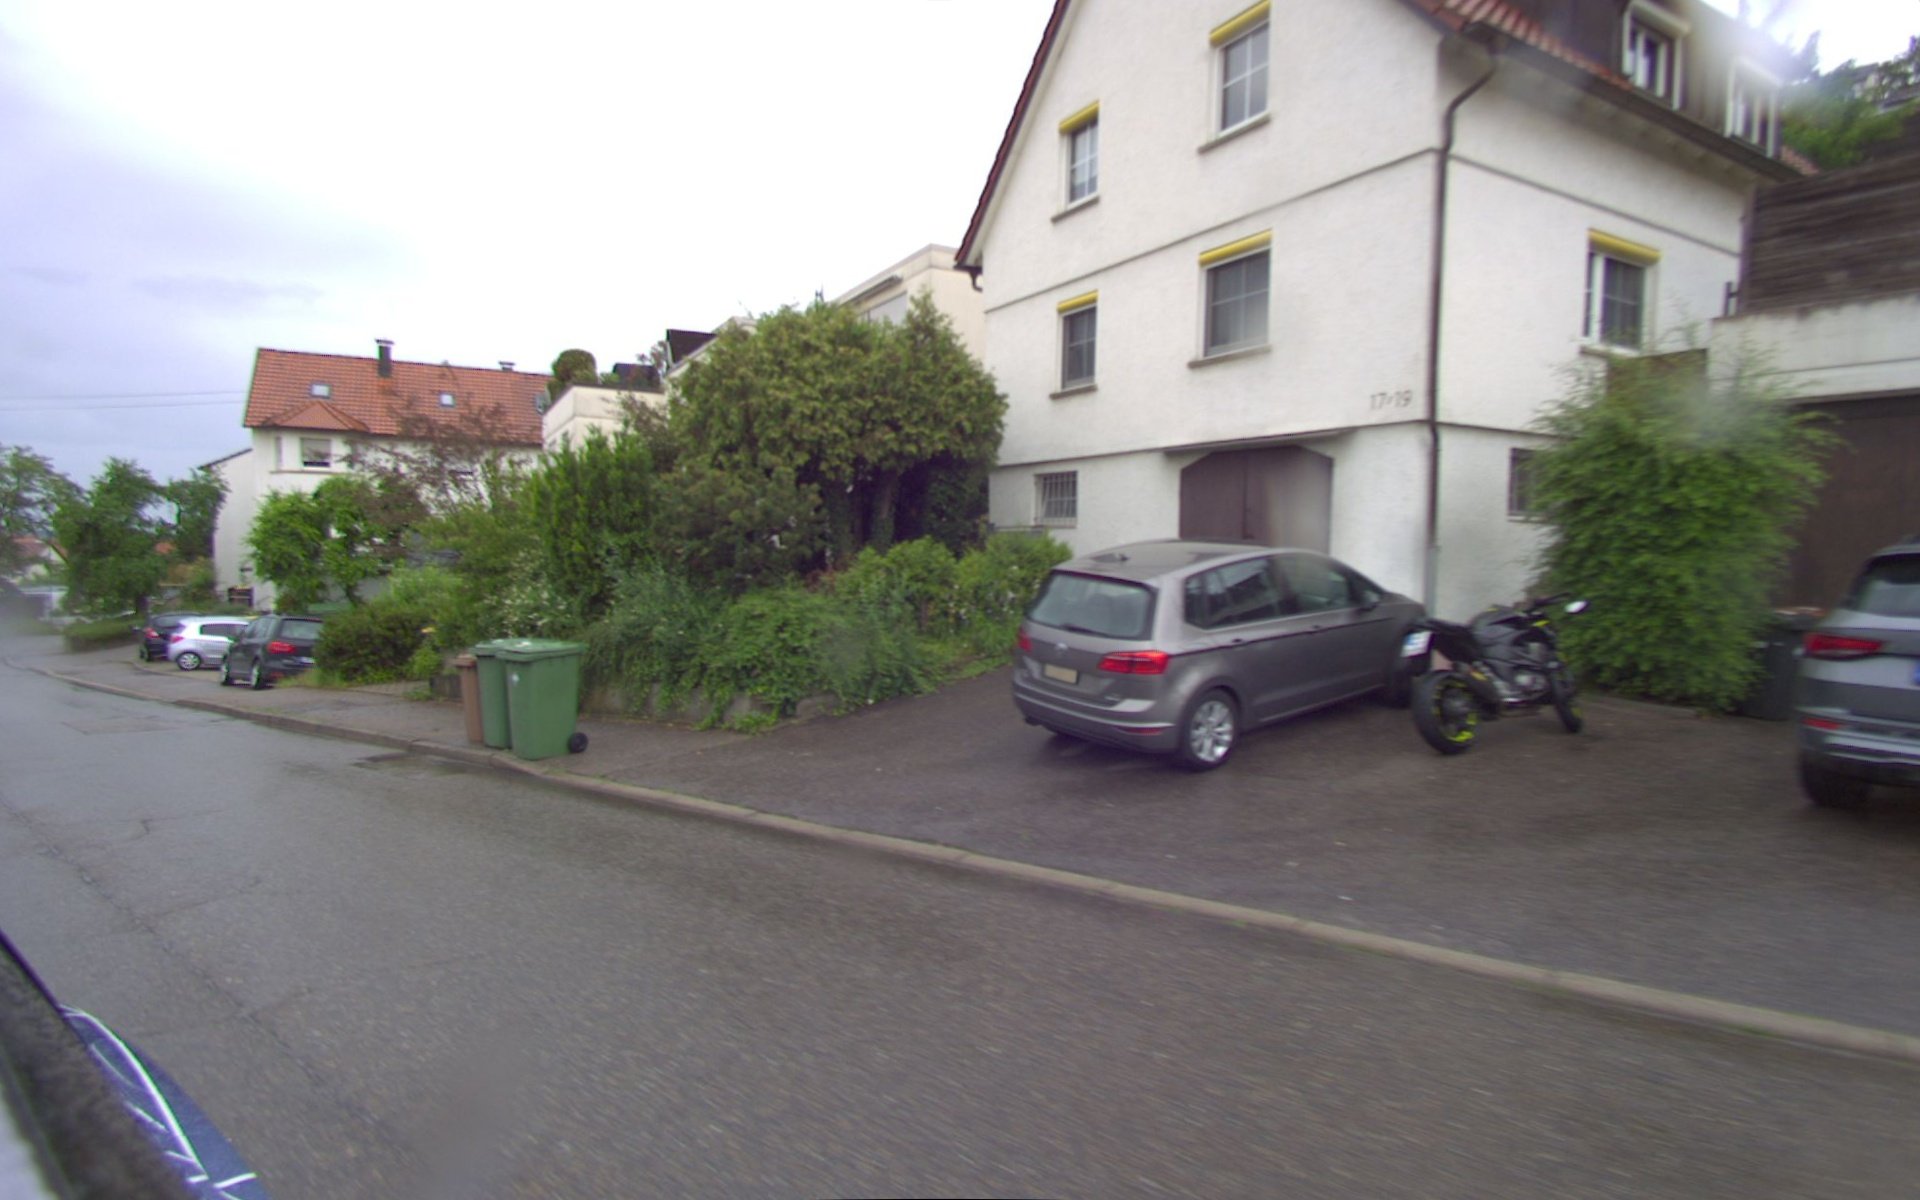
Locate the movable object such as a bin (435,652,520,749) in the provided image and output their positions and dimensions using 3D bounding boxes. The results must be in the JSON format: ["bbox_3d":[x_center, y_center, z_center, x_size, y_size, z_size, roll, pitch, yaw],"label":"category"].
[{"bbox_3d":[-5.064,1.031,10.629,0.563,0.935,0.597,-2,0,37],"label":"movable object such as a bin"}]

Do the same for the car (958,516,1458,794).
[{"bbox_3d":[2.198,0.267,8.529,4.002,1.704,1.898,-5,3,-36],"label":"car"}]

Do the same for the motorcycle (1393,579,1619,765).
[{"bbox_3d":[4.166,0.483,7.688,1.755,1.179,0.642,-4,4,-28],"label":"motorcycle"}]

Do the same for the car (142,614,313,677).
[{"bbox_3d":[-21.060,1.325,29.282,3.775,1.489,1.808,7,-5,-34],"label":"car"}]

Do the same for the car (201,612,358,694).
[{"bbox_3d":[-14.970,1.082,22.177,4.415,1.609,1.784,-1,-1,41],"label":"car"}]

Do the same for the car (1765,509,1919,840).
[{"bbox_3d":[6.621,0.301,5.845,4.000,1.650,1.899,-2,1,-33],"label":"car"}]

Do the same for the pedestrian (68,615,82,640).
[{"bbox_3d":[-59.562,1.828,68.149,0.647,1.661,0.734,-1,-2,-37],"label":"pedestrian"}]

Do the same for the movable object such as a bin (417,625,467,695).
[{"bbox_3d":[-8.377,0.954,16.355,0.688,1.091,0.711,0,-1,-30],"label":"movable object such as a bin"}]

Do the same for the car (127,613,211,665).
[{"bbox_3d":[-25.113,1.181,32.086,1.745,1.386,4.253,-5,3,-42],"label":"car"}]

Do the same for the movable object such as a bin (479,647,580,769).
[{"bbox_3d":[-4.102,1.004,9.646,0.697,1.072,0.597,-2,0,37],"label":"movable object such as a bin"}]

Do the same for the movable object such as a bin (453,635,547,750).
[{"bbox_3d":[-4.621,0.904,10.170,0.637,1.072,0.597,-2,0,37],"label":"movable object such as a bin"}]
